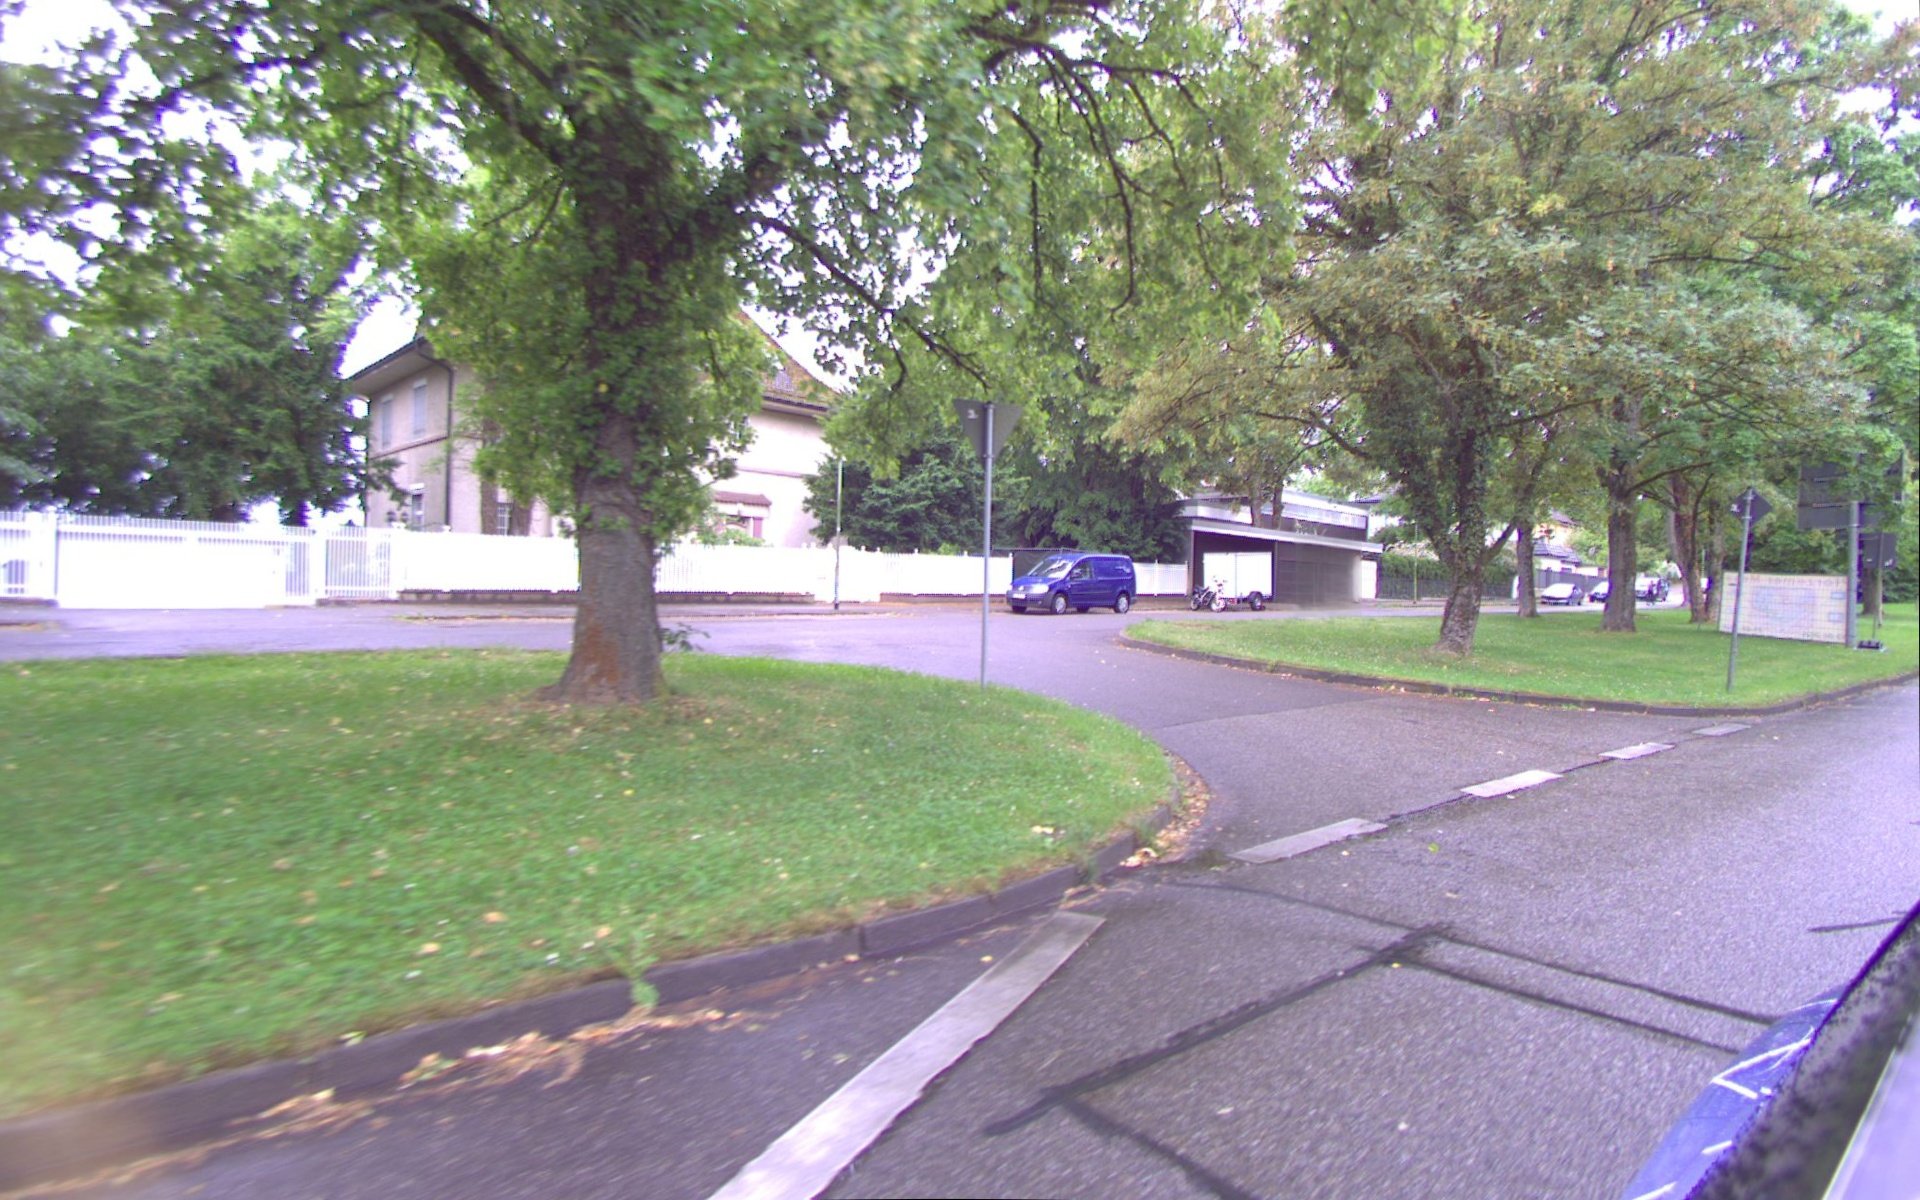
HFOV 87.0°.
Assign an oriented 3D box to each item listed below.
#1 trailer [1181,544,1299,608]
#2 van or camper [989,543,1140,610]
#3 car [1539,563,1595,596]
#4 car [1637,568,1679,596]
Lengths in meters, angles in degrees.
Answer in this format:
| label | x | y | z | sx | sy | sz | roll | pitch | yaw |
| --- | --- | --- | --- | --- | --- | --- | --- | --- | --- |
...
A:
| label | x | y | z | sx | sy | sz | roll | pitch | yaw |
| --- | --- | --- | --- | --- | --- | --- | --- | --- | --- |
| trailer | 10.213 | -0.836 | 36.677 | 5.107 | 2.143 | 1.768 | -1 | 0 | -44 |
| van or camper | 3.189 | -0.671 | 30.185 | 1.994 | 1.831 | 4.700 | 0 | 0 | 44 |
| car | 39.493 | -1.316 | 65.805 | 3.931 | 2.038 | 1.997 | 0 | 2 | -41 |
| car | 56.490 | -1.438 | 81.896 | 3.932 | 2.039 | 1.996 | 2 | 1 | -43 |
